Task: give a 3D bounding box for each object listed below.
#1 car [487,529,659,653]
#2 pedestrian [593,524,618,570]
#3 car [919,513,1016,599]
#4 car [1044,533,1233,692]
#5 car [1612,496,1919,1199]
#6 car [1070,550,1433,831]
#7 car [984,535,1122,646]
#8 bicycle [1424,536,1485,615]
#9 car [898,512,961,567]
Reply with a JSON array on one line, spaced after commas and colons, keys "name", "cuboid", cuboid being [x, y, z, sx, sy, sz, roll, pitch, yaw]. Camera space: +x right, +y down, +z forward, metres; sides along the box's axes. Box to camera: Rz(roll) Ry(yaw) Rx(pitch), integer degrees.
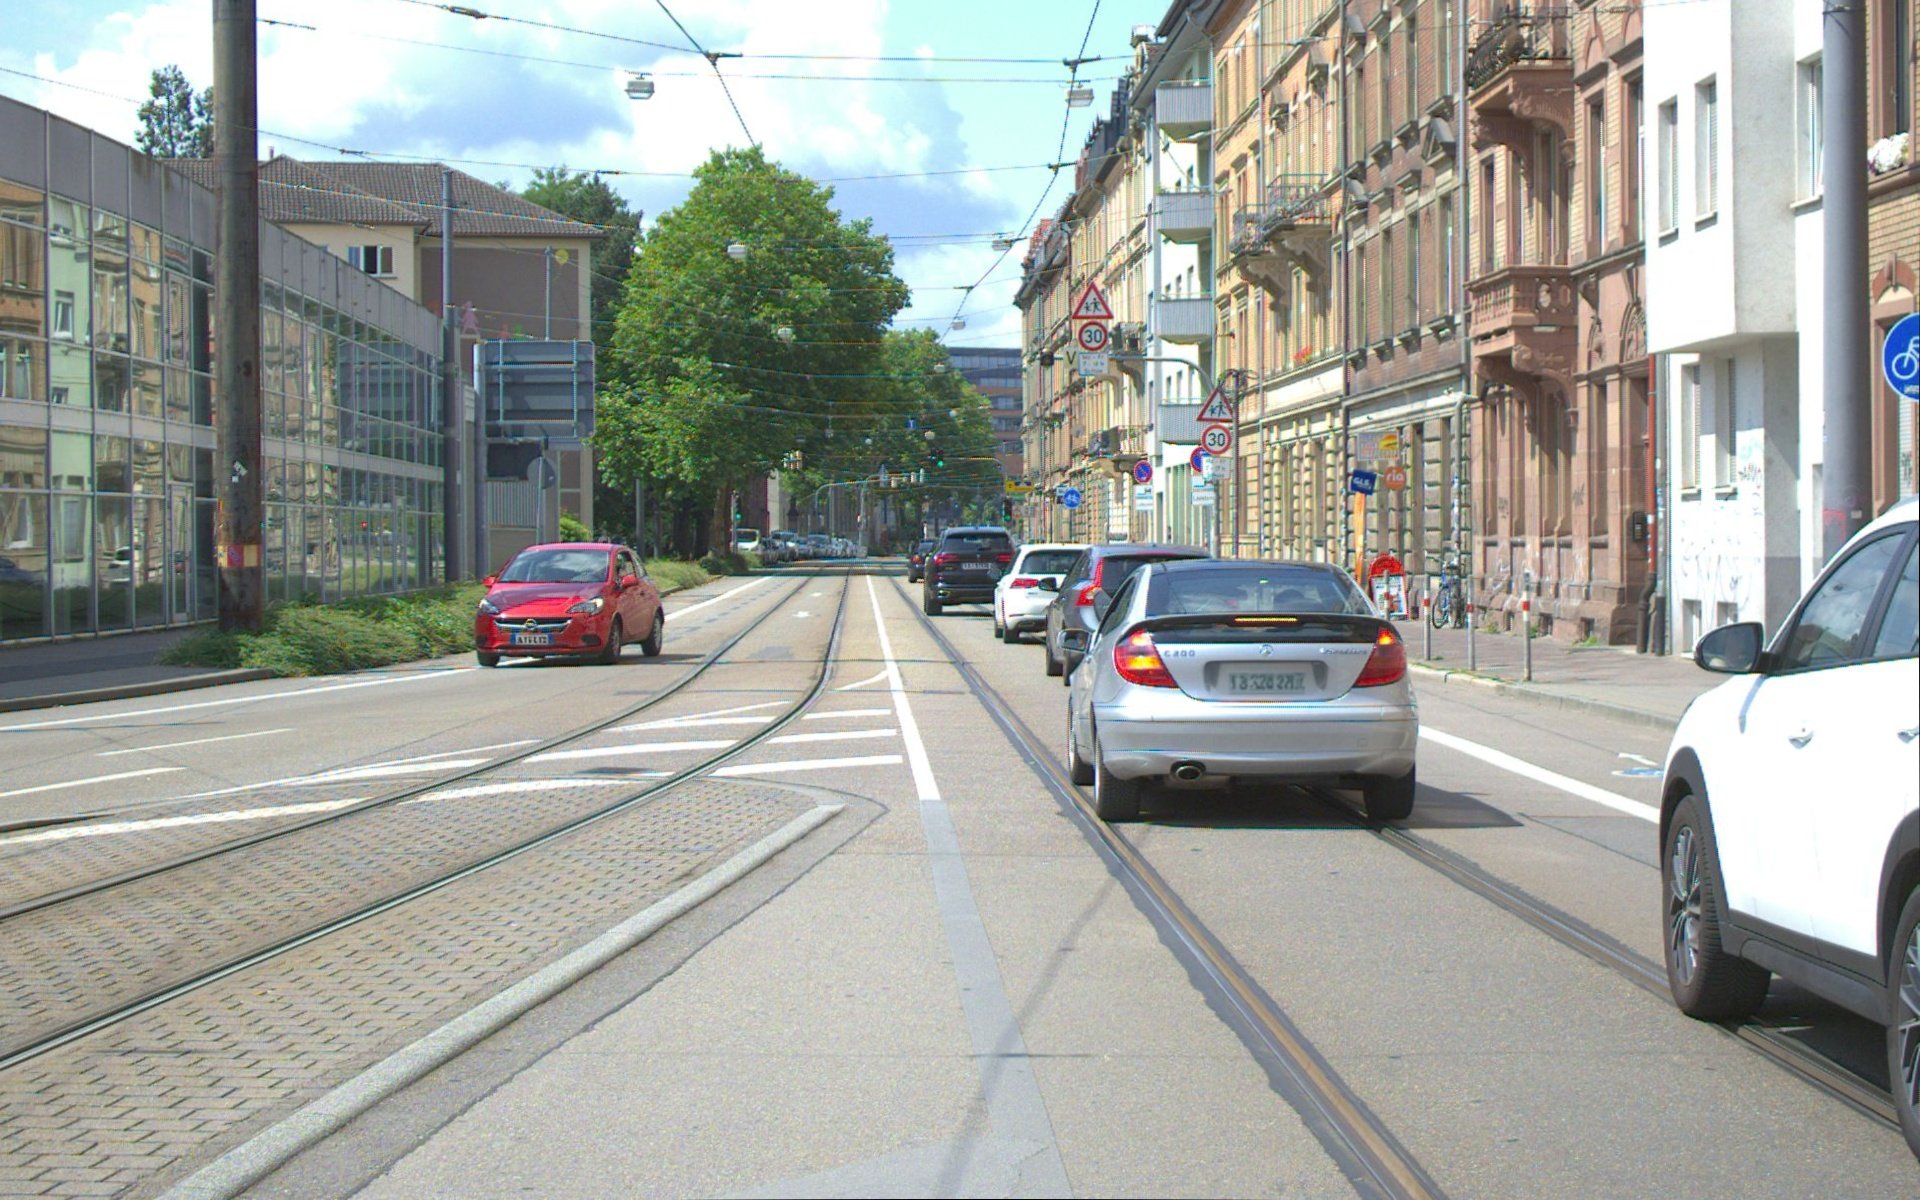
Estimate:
[{"name": "car", "cuboid": [-4.701, -0.148, 42.219, 1.702, 1.423, 3.902, 0, 1, -1]}, {"name": "pedestrian", "cuboid": [-14.510, -2.166, 140.758, 0.880, 1.859, 1.081, -1, 1, -1]}, {"name": "car", "cuboid": [0.128, -0.902, 68.804, 1.814, 1.656, 4.085, 0, 1, -2]}, {"name": "car", "cuboid": [1.806, 0.084, 35.847, 1.814, 1.519, 4.085, 0, 2, 1]}, {"name": "car", "cuboid": [3.125, 0.560, 9.252, 1.852, 1.628, 4.181, 1, 1, -1]}, {"name": "car", "cuboid": [1.550, 0.434, 19.603, 1.814, 1.415, 4.187, 0, 1, 1]}, {"name": "car", "cuboid": [1.328, -0.172, 50.608, 1.814, 1.519, 3.956, 0, 2, -2]}, {"name": "bicycle", "cuboid": [7.611, -0.385, 53.000, 0.586, 1.174, 2.205, -1, 1, -1]}, {"name": "car", "cuboid": [-1.061, -2.098, 117.921, 1.993, 1.853, 4.001, 0, 1, -3]}]
